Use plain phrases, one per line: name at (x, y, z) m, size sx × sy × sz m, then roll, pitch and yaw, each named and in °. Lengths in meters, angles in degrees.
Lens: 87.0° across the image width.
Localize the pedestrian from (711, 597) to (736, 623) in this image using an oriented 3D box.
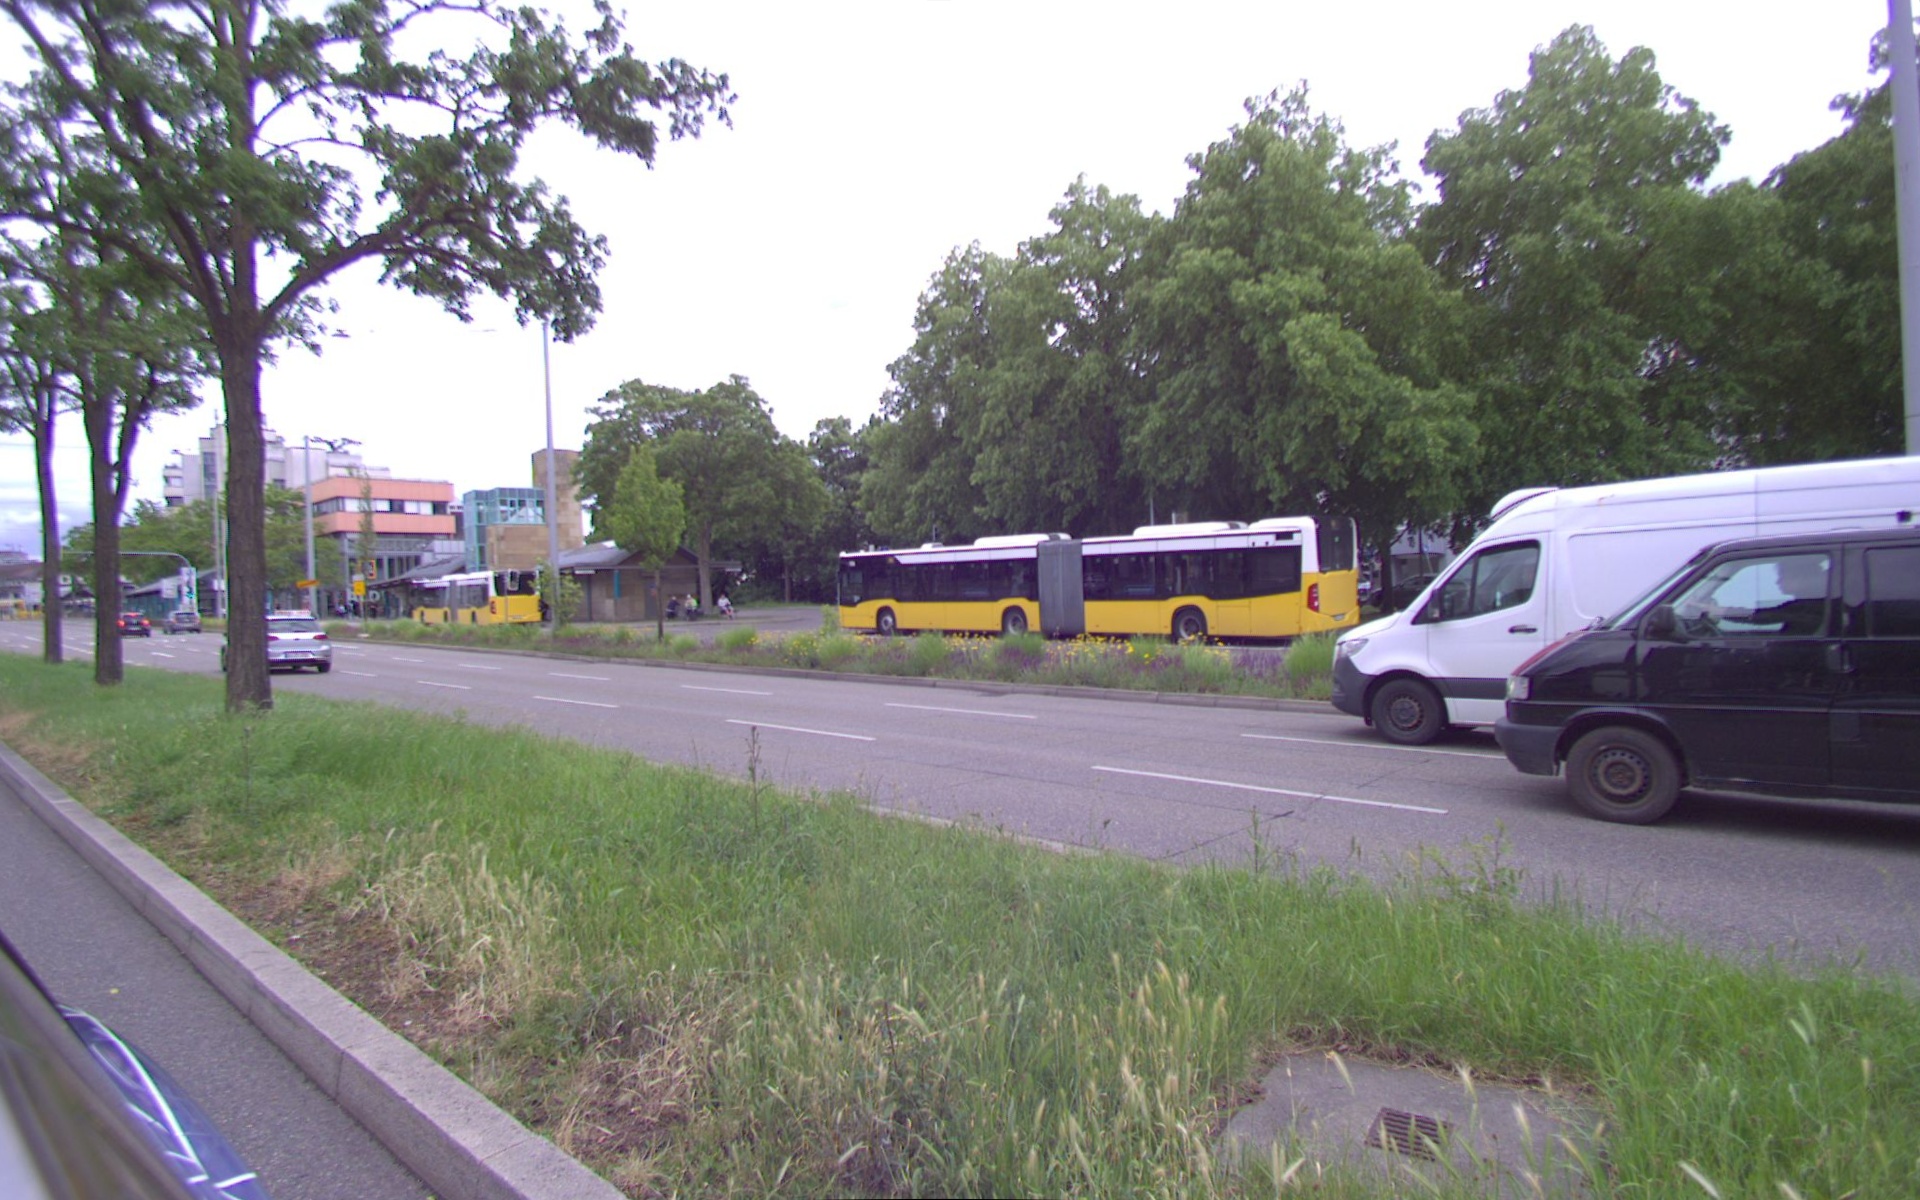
pedestrian at (-11.935, 0.495, 51.104) m, size 0.858 × 1.264 × 0.883 m, roll -2°, pitch 0°, yaw 43°

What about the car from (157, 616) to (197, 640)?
car at (-54.052, 1.915, 69.814) m, size 1.794 × 1.519 × 4.004 m, roll -1°, pitch 0°, yaw -43°

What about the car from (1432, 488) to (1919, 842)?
car at (5.855, 0.371, 6.275) m, size 4.971 × 1.932 × 1.915 m, roll -1°, pitch -2°, yaw 41°

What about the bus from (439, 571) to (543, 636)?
bus at (-25.857, 0.225, 55.460) m, size 2.774 × 3.155 × 9.316 m, roll -4°, pitch 2°, yaw -39°

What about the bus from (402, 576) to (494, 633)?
bus at (-31.757, 0.339, 62.515) m, size 2.742 × 3.155 × 9.452 m, roll -4°, pitch 2°, yaw -41°

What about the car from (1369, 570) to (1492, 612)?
car at (19.703, -0.359, 42.489) m, size 1.970 × 1.593 × 4.251 m, roll -1°, pitch 0°, yaw -44°

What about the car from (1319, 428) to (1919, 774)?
car at (6.733, 0.066, 9.692) m, size 5.874 × 2.654 × 1.972 m, roll -2°, pitch -2°, yaw 43°

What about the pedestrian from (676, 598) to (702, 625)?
pedestrian at (-13.487, 0.557, 50.375) m, size 0.888 × 1.300 × 0.853 m, roll -1°, pitch 0°, yaw 18°

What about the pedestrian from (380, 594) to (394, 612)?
pedestrian at (-48.431, 0.224, 85.563) m, size 0.975 × 1.472 × 0.593 m, roll -2°, pitch 0°, yaw -32°

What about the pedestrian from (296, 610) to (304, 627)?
pedestrian at (-61.736, 1.728, 94.652) m, size 0.382 × 1.559 × 0.479 m, roll -2°, pitch 0°, yaw 34°

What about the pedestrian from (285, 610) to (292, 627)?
pedestrian at (-62.404, 1.677, 94.074) m, size 0.521 × 1.559 × 0.756 m, roll -2°, pitch 0°, yaw -32°

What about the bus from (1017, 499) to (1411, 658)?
bus at (6.234, -0.450, 26.734) m, size 2.996 × 3.481 × 9.918 m, roll -4°, pitch 2°, yaw -44°

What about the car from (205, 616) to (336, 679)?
car at (-17.567, 1.168, 25.706) m, size 4.131 × 1.455 × 1.735 m, roll -2°, pitch -2°, yaw 40°

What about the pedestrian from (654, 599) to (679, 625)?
pedestrian at (-15.081, 0.609, 52.004) m, size 0.887 × 1.264 × 0.854 m, roll -1°, pitch 0°, yaw 14°

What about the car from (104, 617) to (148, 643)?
car at (-51.955, 1.827, 63.020) m, size 3.768 × 1.519 × 1.640 m, roll -1°, pitch 0°, yaw 43°

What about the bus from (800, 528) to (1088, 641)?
bus at (-0.926, -0.433, 34.178) m, size 3.049 × 3.185 × 10.744 m, roll -6°, pitch 3°, yaw -44°
